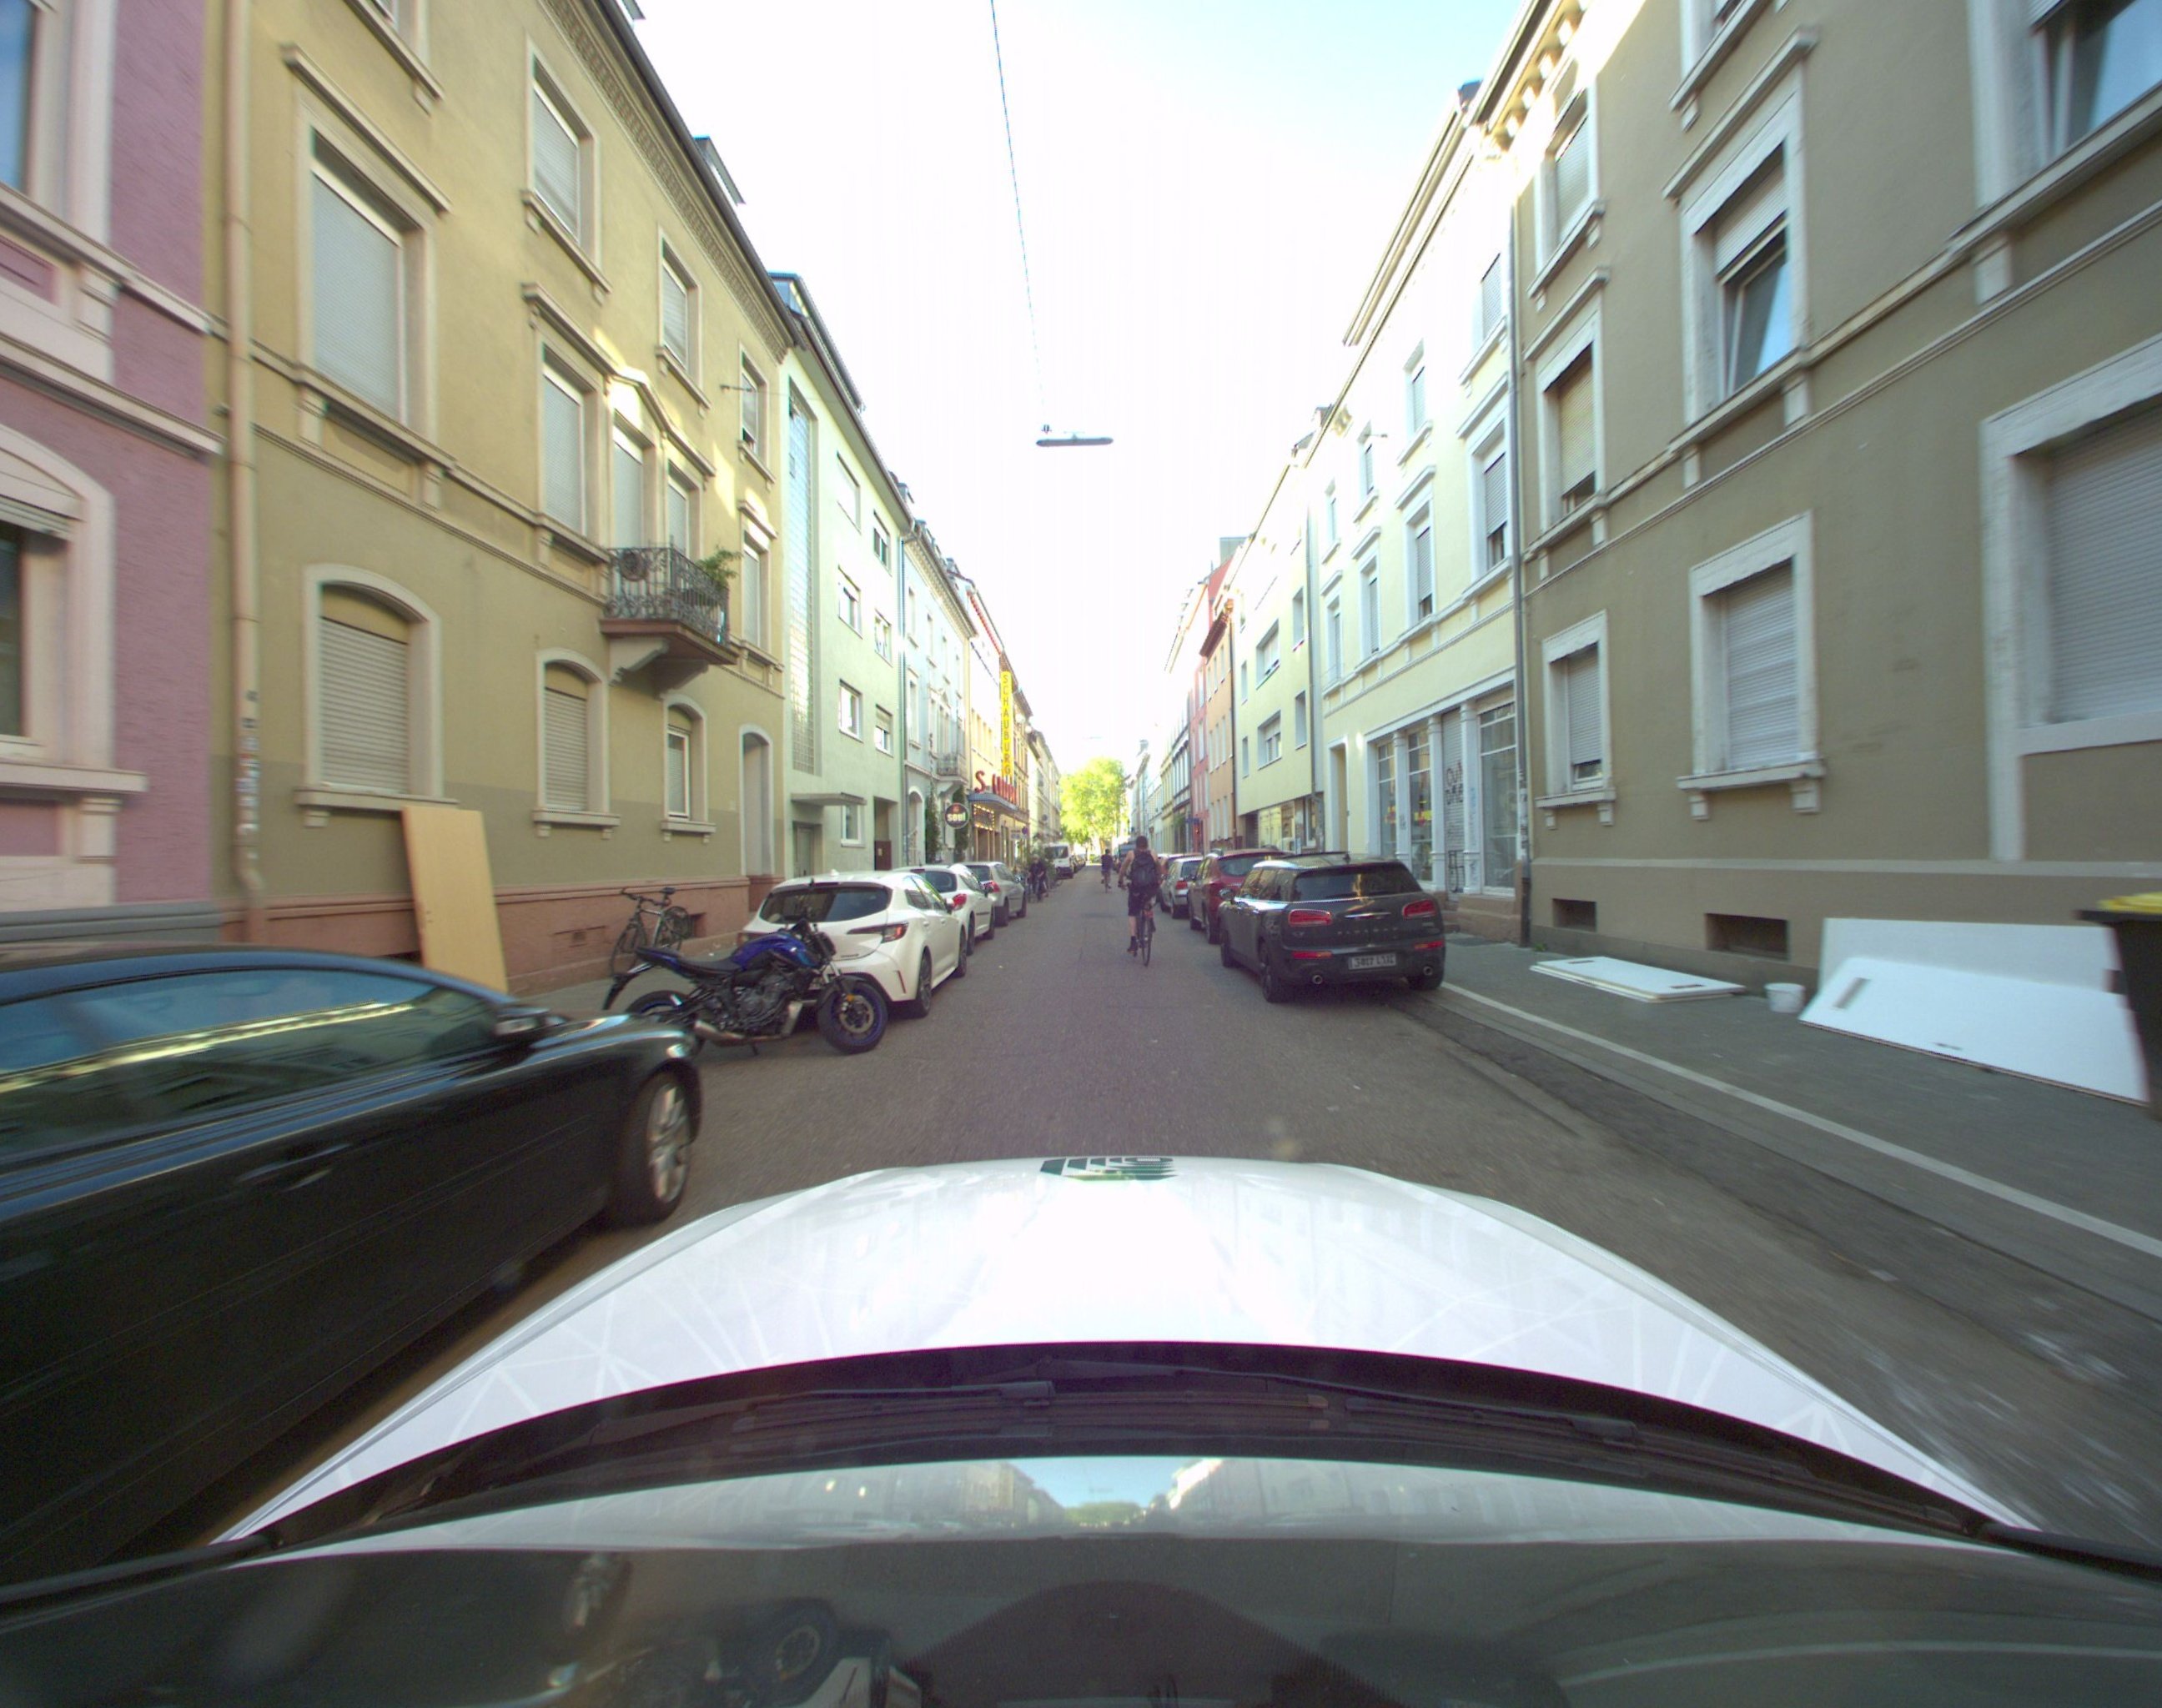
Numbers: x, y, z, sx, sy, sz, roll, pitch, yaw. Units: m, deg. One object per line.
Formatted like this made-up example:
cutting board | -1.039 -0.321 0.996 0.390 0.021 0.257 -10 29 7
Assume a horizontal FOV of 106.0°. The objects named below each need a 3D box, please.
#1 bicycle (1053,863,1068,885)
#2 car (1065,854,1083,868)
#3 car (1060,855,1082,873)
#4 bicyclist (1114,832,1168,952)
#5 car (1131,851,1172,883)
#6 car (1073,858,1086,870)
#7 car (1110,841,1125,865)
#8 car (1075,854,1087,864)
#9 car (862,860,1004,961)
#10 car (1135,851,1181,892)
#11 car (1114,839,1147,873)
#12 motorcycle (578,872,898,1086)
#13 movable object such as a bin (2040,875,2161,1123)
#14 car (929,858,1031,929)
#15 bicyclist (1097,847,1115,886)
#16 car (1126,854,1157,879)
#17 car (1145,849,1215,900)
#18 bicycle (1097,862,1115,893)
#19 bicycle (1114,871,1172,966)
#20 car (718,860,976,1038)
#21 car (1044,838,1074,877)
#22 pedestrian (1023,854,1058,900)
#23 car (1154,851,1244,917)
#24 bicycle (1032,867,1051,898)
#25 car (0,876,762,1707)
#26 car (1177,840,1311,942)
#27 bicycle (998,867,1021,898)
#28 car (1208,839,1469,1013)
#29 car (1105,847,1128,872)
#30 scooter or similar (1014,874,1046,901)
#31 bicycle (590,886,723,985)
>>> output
bicycle | -1.095 1.052 43.346 0.756 1.163 2.272 0 -1 -3
car | -0.748 0.755 89.499 1.666 1.441 4.166 -4 -1 1
car | -0.834 0.857 70.933 1.666 1.441 4.166 -4 -1 1
bicyclist | 0.844 0.529 11.670 0.699 1.633 1.090 0 -1 1
car | 3.494 0.635 40.821 1.705 1.393 4.000 -4 -1 1
car | -0.221 1.347 112.250 1.666 1.441 4.166 -4 -1 1
car | 6.268 -0.151 140.684 2.300 3.767 6.770 -4 -1 1
car | 0.055 0.759 124.834 1.666 1.441 4.166 -4 -1 1
car | -2.454 0.882 14.372 1.666 1.441 3.768 -4 -1 1
car | 3.277 0.733 35.368 1.615 1.550 4.000 -4 -1 1
car | 4.078 0.175 67.854 2.300 2.538 6.770 -4 -1 1
motorcycle | -2.602 0.908 6.413 2.152 1.359 0.537 -4 0 -17
movable object such as a bin | 5.271 0.653 3.752 0.803 1.075 0.678 -4 -1 5
car | -2.311 0.870 19.542 1.665 1.441 3.757 -4 -1 4
bicyclist | 1.025 0.512 33.826 0.699 1.605 0.813 -1 1 0
car | 3.846 0.772 52.189 1.705 1.447 4.000 -4 -1 1
car | 3.045 0.603 25.690 1.705 1.383 4.000 -4 -1 1
bicycle | 1.041 0.957 33.967 0.699 1.208 2.342 -1 1 1
bicycle | 0.854 0.863 11.768 0.699 1.208 2.342 0 -1 1
car | -2.304 0.847 9.184 1.667 1.441 4.163 -4 -1 -1
car | -1.509 0.251 56.461 1.904 2.496 4.163 -2 0 -1
pedestrian | -1.402 0.784 28.115 0.905 1.578 0.763 0 -1 -45
car | 2.872 0.702 20.624 1.705 1.383 4.000 -4 -1 1
bicycle | -1.525 1.067 31.250 0.698 1.105 2.272 0 -1 -3
car | -2.677 0.866 2.141 1.703 1.383 4.360 -2 1 3
car | 2.913 0.621 15.357 1.705 1.556 4.000 -4 -1 1
bicycle | -2.730 1.063 31.371 0.756 1.134 2.272 0 -1 -3
car | 2.734 0.690 9.663 1.810 1.521 4.000 -4 -1 1
car | 4.033 0.630 93.302 2.300 2.538 6.770 -4 -1 1
scooter or similar | -1.725 1.130 27.770 0.775 0.873 0.763 0 -1 -45
bicycle | -5.418 0.991 10.562 0.590 1.089 2.079 0 -1 1
